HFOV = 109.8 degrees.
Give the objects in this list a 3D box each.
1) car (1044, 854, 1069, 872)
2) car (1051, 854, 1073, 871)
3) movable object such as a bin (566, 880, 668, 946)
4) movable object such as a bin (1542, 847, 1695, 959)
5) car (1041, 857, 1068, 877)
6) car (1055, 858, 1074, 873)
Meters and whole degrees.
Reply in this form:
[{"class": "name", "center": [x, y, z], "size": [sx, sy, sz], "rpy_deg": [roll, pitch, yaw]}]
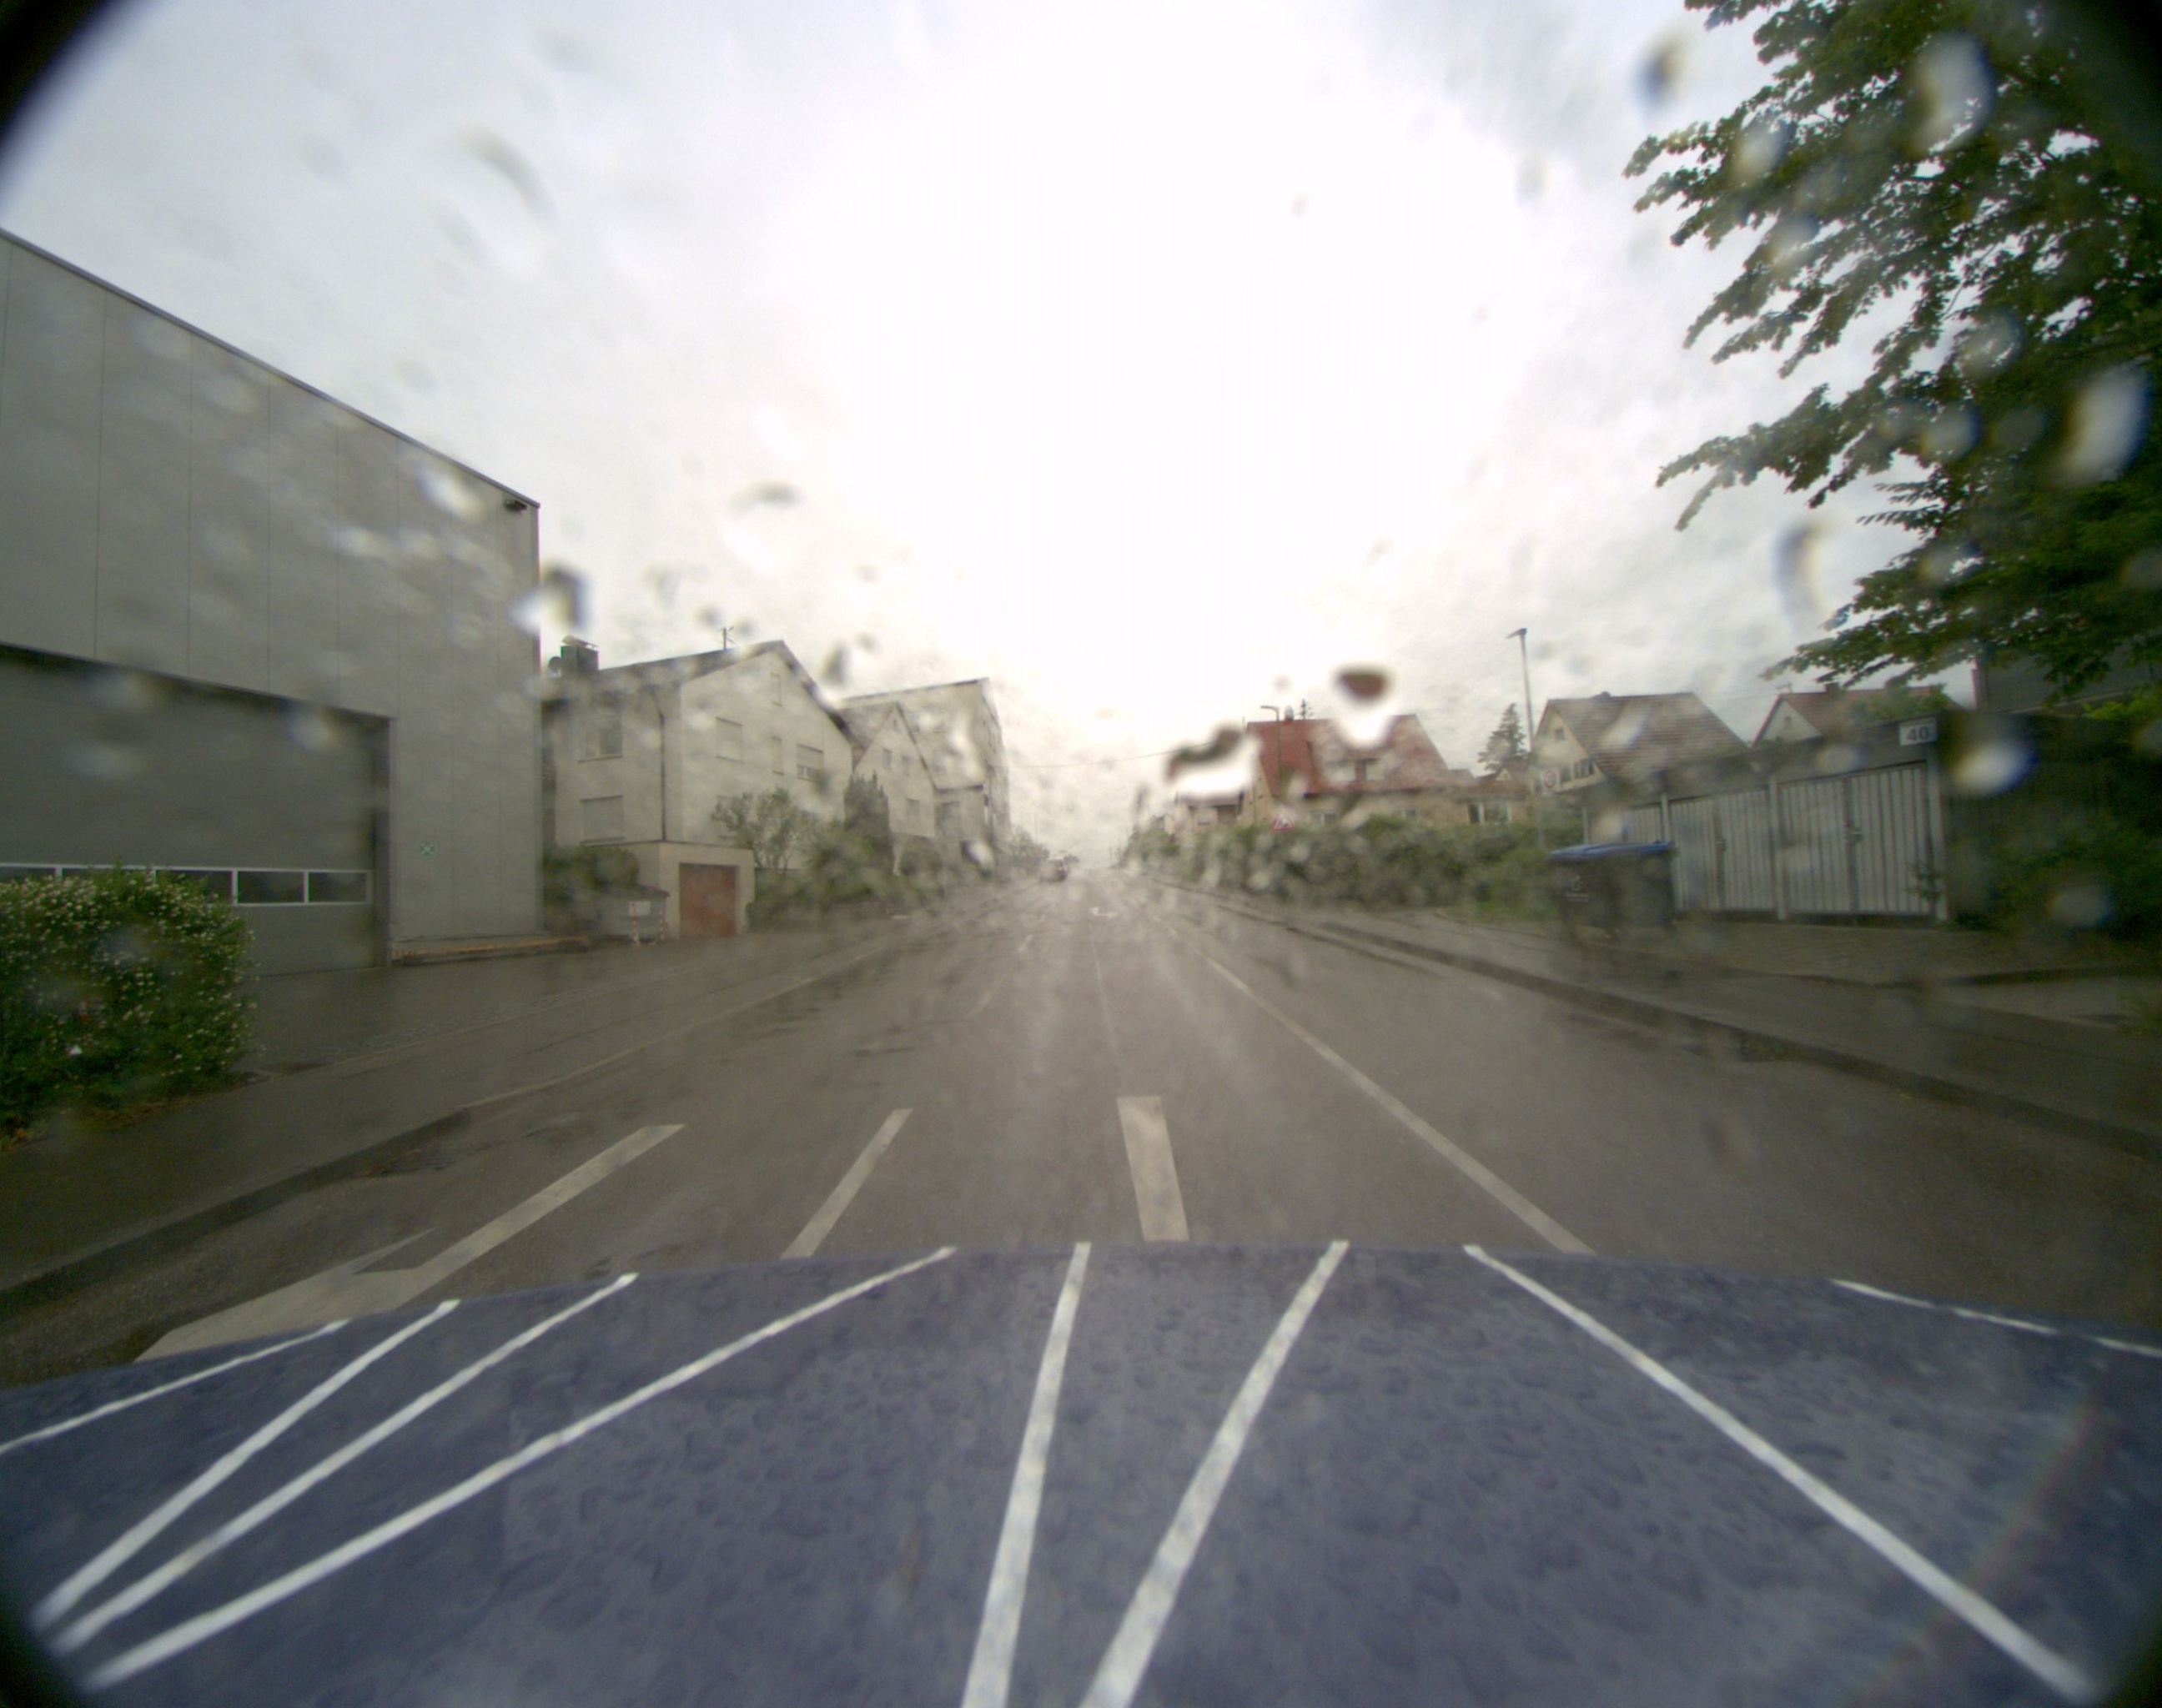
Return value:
[{"class": "car", "center": [-2.100, 0.782, 66.899], "size": [1.848, 1.514, 4.001], "rpy_deg": [-2, 0, 2]}, {"class": "car", "center": [-1.851, 0.803, 73.590], "size": [1.848, 1.514, 4.001], "rpy_deg": [-2, 0, 2]}, {"class": "movable object such as a bin", "center": [-11.578, 1.452, 19.026], "size": [1.446, 1.526, 1.591], "rpy_deg": [-2, -1, 16]}, {"class": "movable object such as a bin", "center": [7.156, 0.630, 10.199], "size": [1.056, 1.289, 1.202], "rpy_deg": [-7, -1, 1]}, {"class": "car", "center": [-2.071, 1.010, 60.996], "size": [1.848, 1.514, 4.001], "rpy_deg": [-2, 0, 2]}, {"class": "car", "center": [-1.882, 1.261, 85.880], "size": [1.848, 1.514, 4.001], "rpy_deg": [-2, 0, 2]}]
